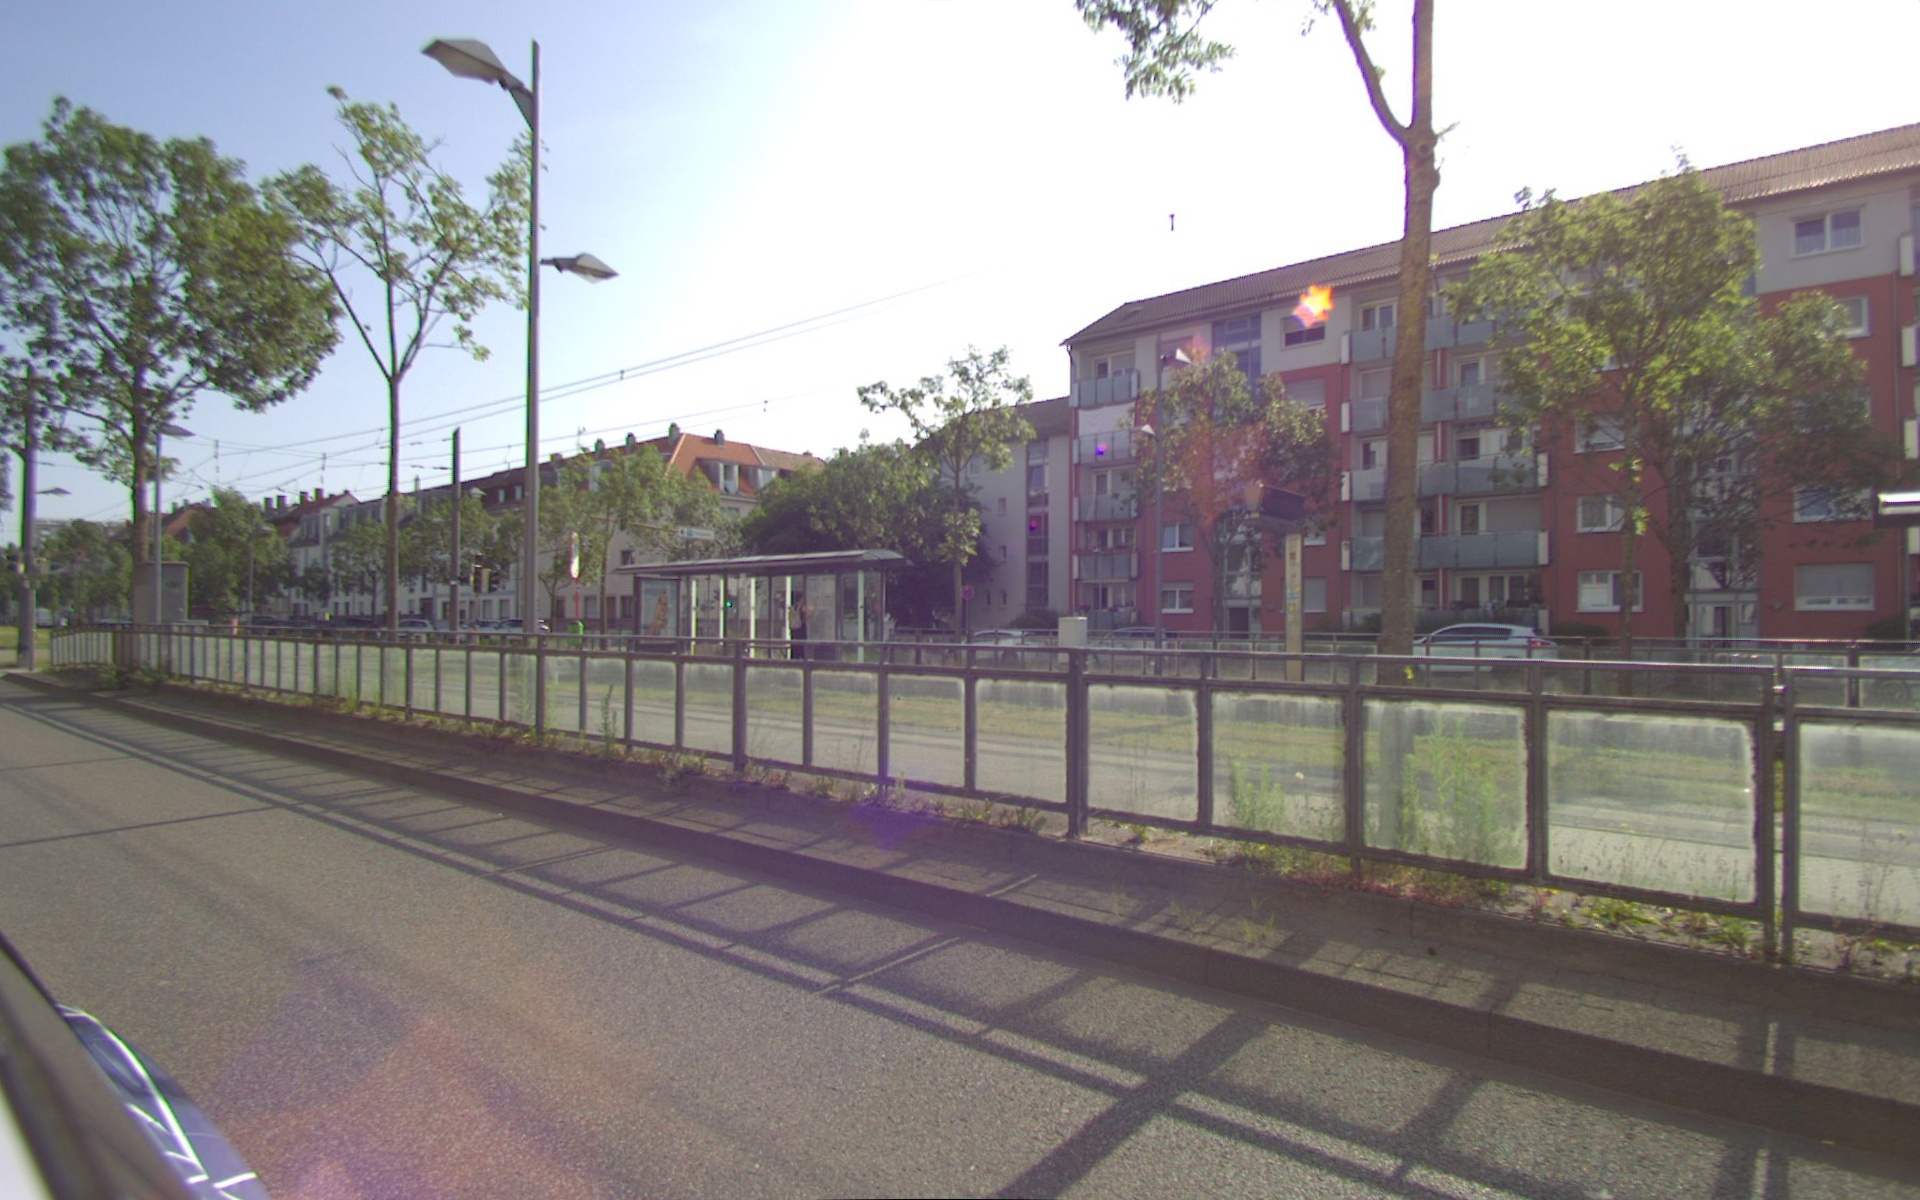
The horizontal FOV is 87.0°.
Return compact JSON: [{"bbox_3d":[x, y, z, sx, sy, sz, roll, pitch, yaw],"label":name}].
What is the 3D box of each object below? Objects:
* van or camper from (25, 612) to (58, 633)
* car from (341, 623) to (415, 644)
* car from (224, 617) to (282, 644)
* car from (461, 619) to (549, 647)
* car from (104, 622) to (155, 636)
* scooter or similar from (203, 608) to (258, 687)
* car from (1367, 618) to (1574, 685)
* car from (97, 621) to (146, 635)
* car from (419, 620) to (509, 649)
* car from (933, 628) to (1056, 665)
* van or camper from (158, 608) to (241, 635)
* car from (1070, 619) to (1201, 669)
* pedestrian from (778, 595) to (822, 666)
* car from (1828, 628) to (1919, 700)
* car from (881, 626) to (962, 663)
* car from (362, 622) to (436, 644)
[{"bbox_3d":[-113.693,2.828,125.275,6.054,2.493,2.120,-1,-3,40],"label":"van or camper"},{"bbox_3d":[-38.697,2.236,67.357,3.931,1.268,1.881,1,-2,-17],"label":"car"},{"bbox_3d":[-48.856,2.112,69.872,4.708,1.719,1.974,-1,-4,39],"label":"car"},{"bbox_3d":[-25.613,1.841,57.130,4.279,1.474,1.969,-1,0,-17],"label":"car"},{"bbox_3d":[-96.899,3.378,118.110,4.294,1.486,1.862,-1,0,-12],"label":"car"},{"bbox_3d":[-11.964,0.770,16.614,0.420,1.248,1.266,1,-2,-23],"label":"scooter or similar"},{"bbox_3d":[13.300,1.267,26.501,4.533,1.568,1.961,-1,0,40],"label":"car"},{"bbox_3d":[-99.221,3.267,119.777,4.031,1.541,1.817,-1,0,-12],"label":"car"},{"bbox_3d":[-28.889,1.984,59.064,4.390,1.526,2.005,-1,0,-13],"label":"car"},{"bbox_3d":[1.204,1.645,36.413,4.161,1.156,1.815,-1,0,40],"label":"car"},{"bbox_3d":[-74.625,2.071,99.416,6.060,2.566,2.420,0,-1,-12],"label":"van or camper"},{"bbox_3d":[5.688,1.376,32.998,3.823,1.482,1.815,-1,0,40],"label":"car"},{"bbox_3d":[-3.825,0.727,24.160,0.793,1.665,0.665,-1,-2,36],"label":"pedestrian"},{"bbox_3d":[20.335,1.300,20.513,4.065,1.371,1.961,-1,0,39],"label":"car"},{"bbox_3d":[-1.945,2.258,52.163,1.999,1.707,3.946,-1,0,41],"label":"car"},{"bbox_3d":[-36.297,2.117,65.607,3.931,1.279,1.893,-1,0,-20],"label":"car"}]
